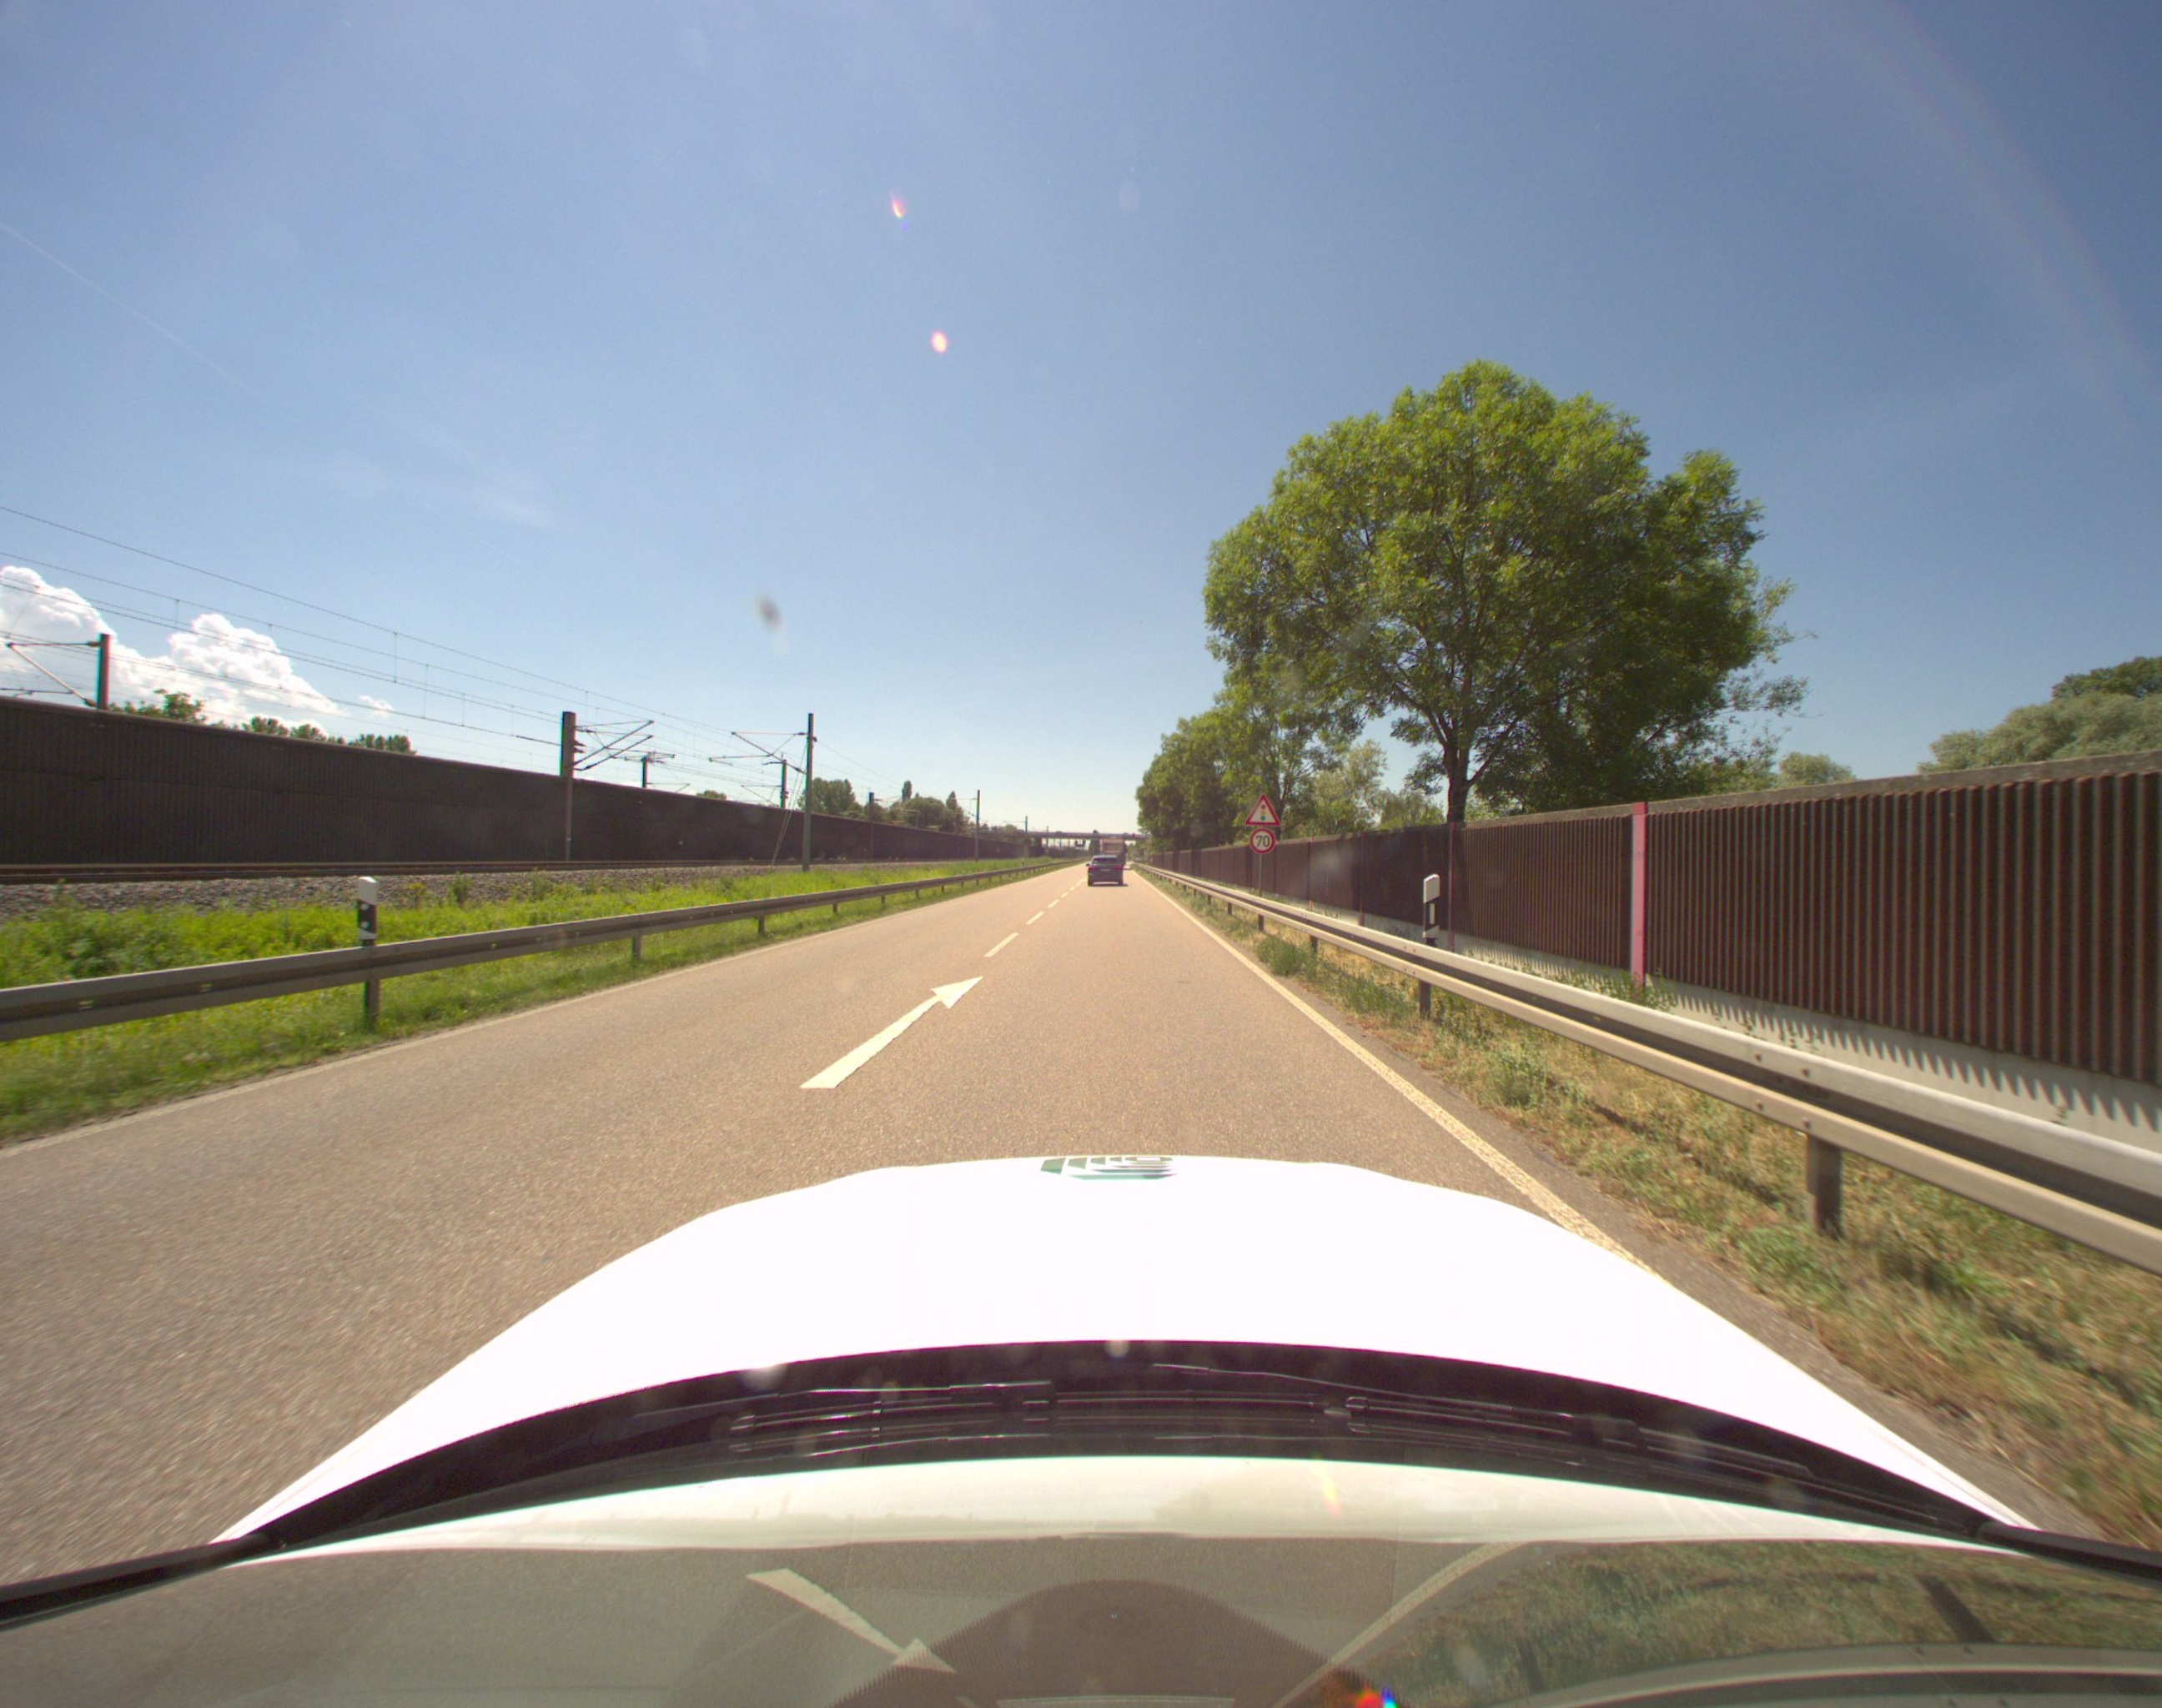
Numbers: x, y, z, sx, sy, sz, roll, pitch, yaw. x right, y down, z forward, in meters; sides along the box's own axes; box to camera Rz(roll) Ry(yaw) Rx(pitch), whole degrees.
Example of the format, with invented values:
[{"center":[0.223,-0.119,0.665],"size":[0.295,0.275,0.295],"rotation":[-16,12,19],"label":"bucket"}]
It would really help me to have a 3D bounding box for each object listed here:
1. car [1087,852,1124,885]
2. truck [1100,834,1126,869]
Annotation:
[{"center":[1.315,0.741,42.456],"size":[1.837,1.623,4.228],"rotation":[0,0,3],"label":"car"},{"center":[3.629,-0.272,94.403],"size":[2.823,3.821,11.889],"rotation":[0,0,2],"label":"truck"}]
